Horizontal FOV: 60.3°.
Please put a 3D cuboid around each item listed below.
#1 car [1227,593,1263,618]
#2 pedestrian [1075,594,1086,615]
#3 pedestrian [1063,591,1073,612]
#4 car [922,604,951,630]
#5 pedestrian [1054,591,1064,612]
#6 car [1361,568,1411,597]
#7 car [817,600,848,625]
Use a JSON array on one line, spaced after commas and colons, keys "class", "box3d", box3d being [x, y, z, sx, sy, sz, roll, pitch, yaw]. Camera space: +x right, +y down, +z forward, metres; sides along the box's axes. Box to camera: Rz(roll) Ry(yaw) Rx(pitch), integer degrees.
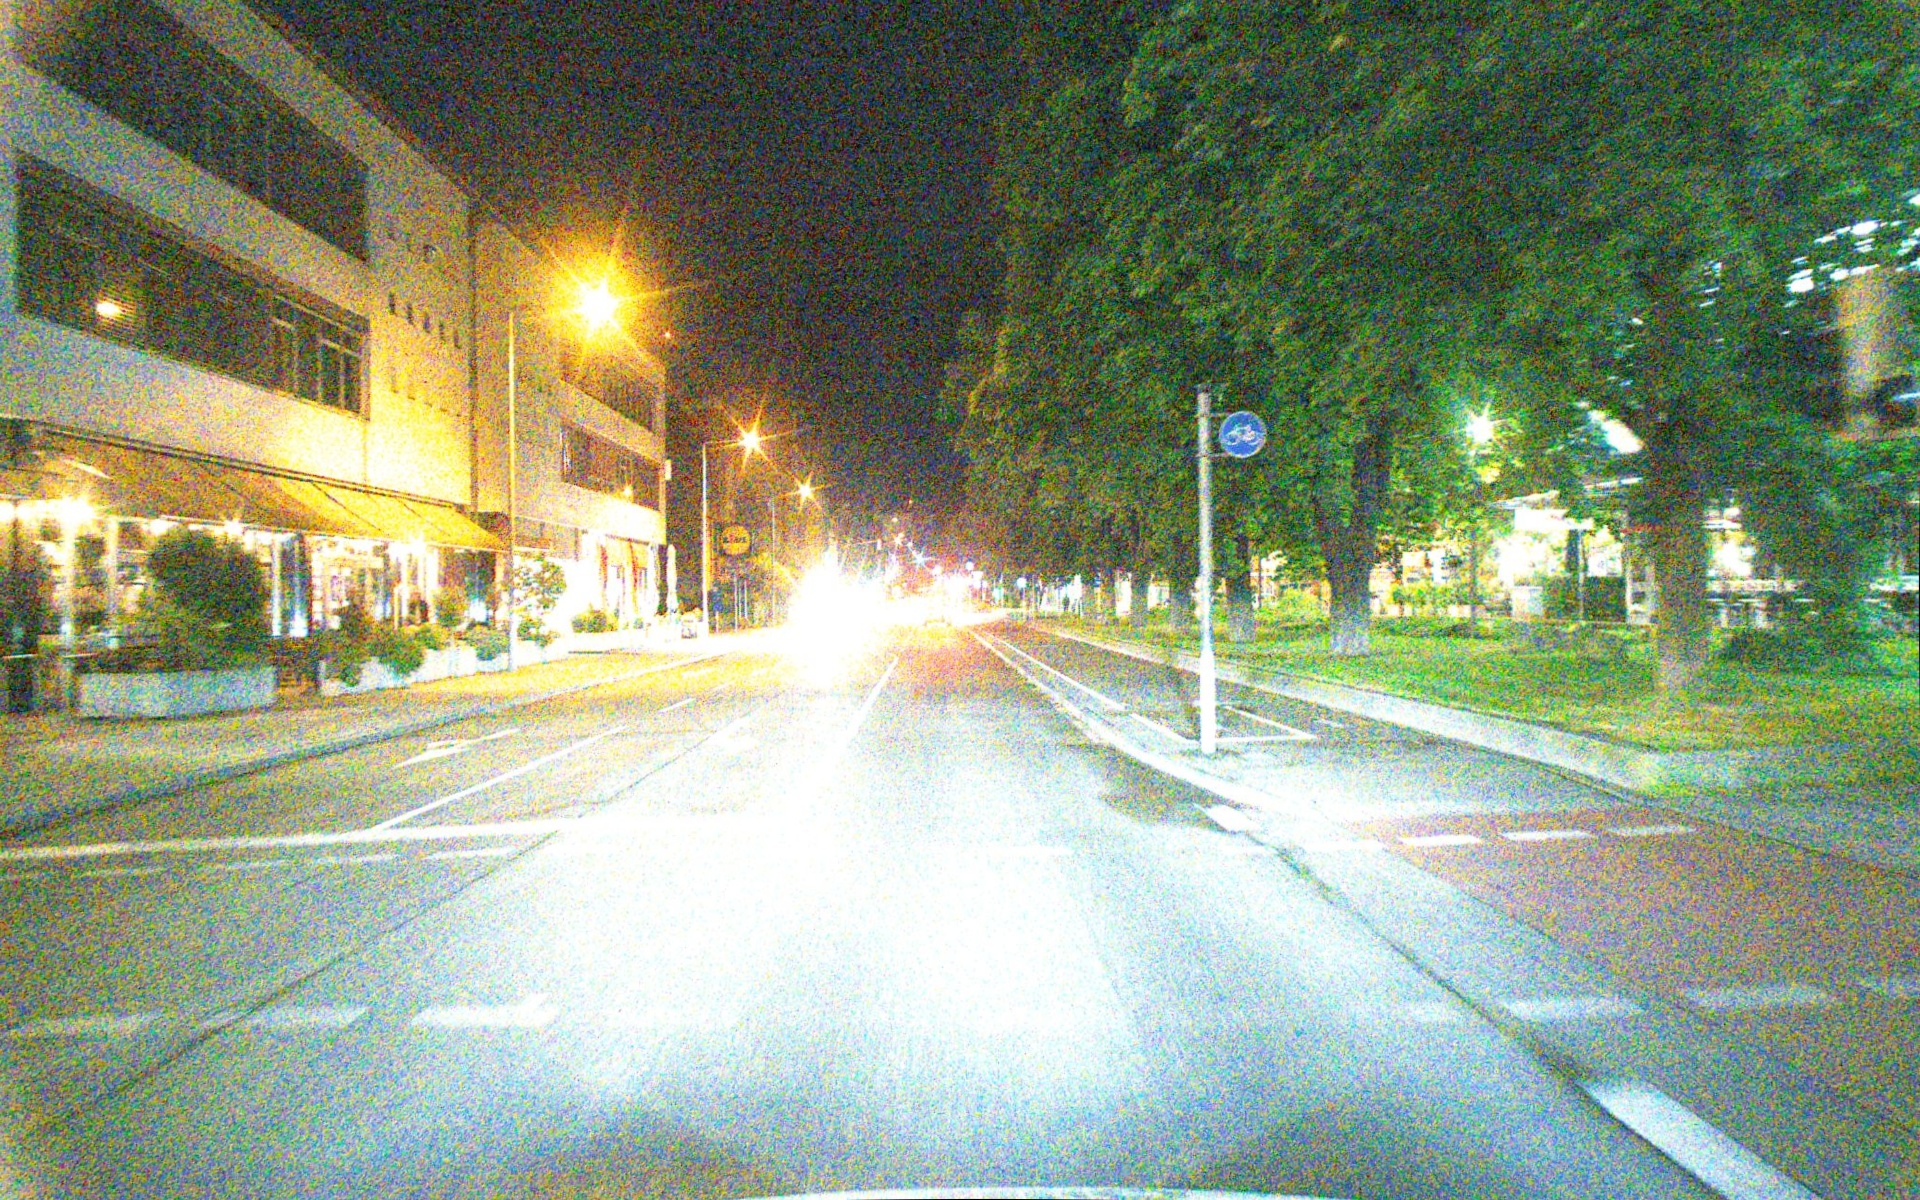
[{"class": "car", "box3d": [18.564, 0.331, 107.907, 1.745, 1.560, 4.001, -1, 0, 2]}, {"class": "pedestrian", "box3d": [10.523, 0.390, 144.330, 0.883, 1.800, 0.906, -1, 0, -3]}, {"class": "pedestrian", "box3d": [9.402, 0.132, 144.266, 0.724, 1.800, 0.907, -2, 0, -1]}, {"class": "car", "box3d": [-1.469, 1.036, 103.462, 1.768, 1.520, 4.729, 1, 0, -1]}, {"class": "pedestrian", "box3d": [8.610, 0.164, 144.151, 0.699, 1.800, 0.907, -2, 0, -1]}, {"class": "car", "box3d": [24.668, -0.991, 95.823, 1.732, 1.560, 4.097, -1, 0, -1]}, {"class": "car", "box3d": [-7.744, 0.755, 100.422, 1.633, 1.453, 3.998, -3, 0, -2]}]
